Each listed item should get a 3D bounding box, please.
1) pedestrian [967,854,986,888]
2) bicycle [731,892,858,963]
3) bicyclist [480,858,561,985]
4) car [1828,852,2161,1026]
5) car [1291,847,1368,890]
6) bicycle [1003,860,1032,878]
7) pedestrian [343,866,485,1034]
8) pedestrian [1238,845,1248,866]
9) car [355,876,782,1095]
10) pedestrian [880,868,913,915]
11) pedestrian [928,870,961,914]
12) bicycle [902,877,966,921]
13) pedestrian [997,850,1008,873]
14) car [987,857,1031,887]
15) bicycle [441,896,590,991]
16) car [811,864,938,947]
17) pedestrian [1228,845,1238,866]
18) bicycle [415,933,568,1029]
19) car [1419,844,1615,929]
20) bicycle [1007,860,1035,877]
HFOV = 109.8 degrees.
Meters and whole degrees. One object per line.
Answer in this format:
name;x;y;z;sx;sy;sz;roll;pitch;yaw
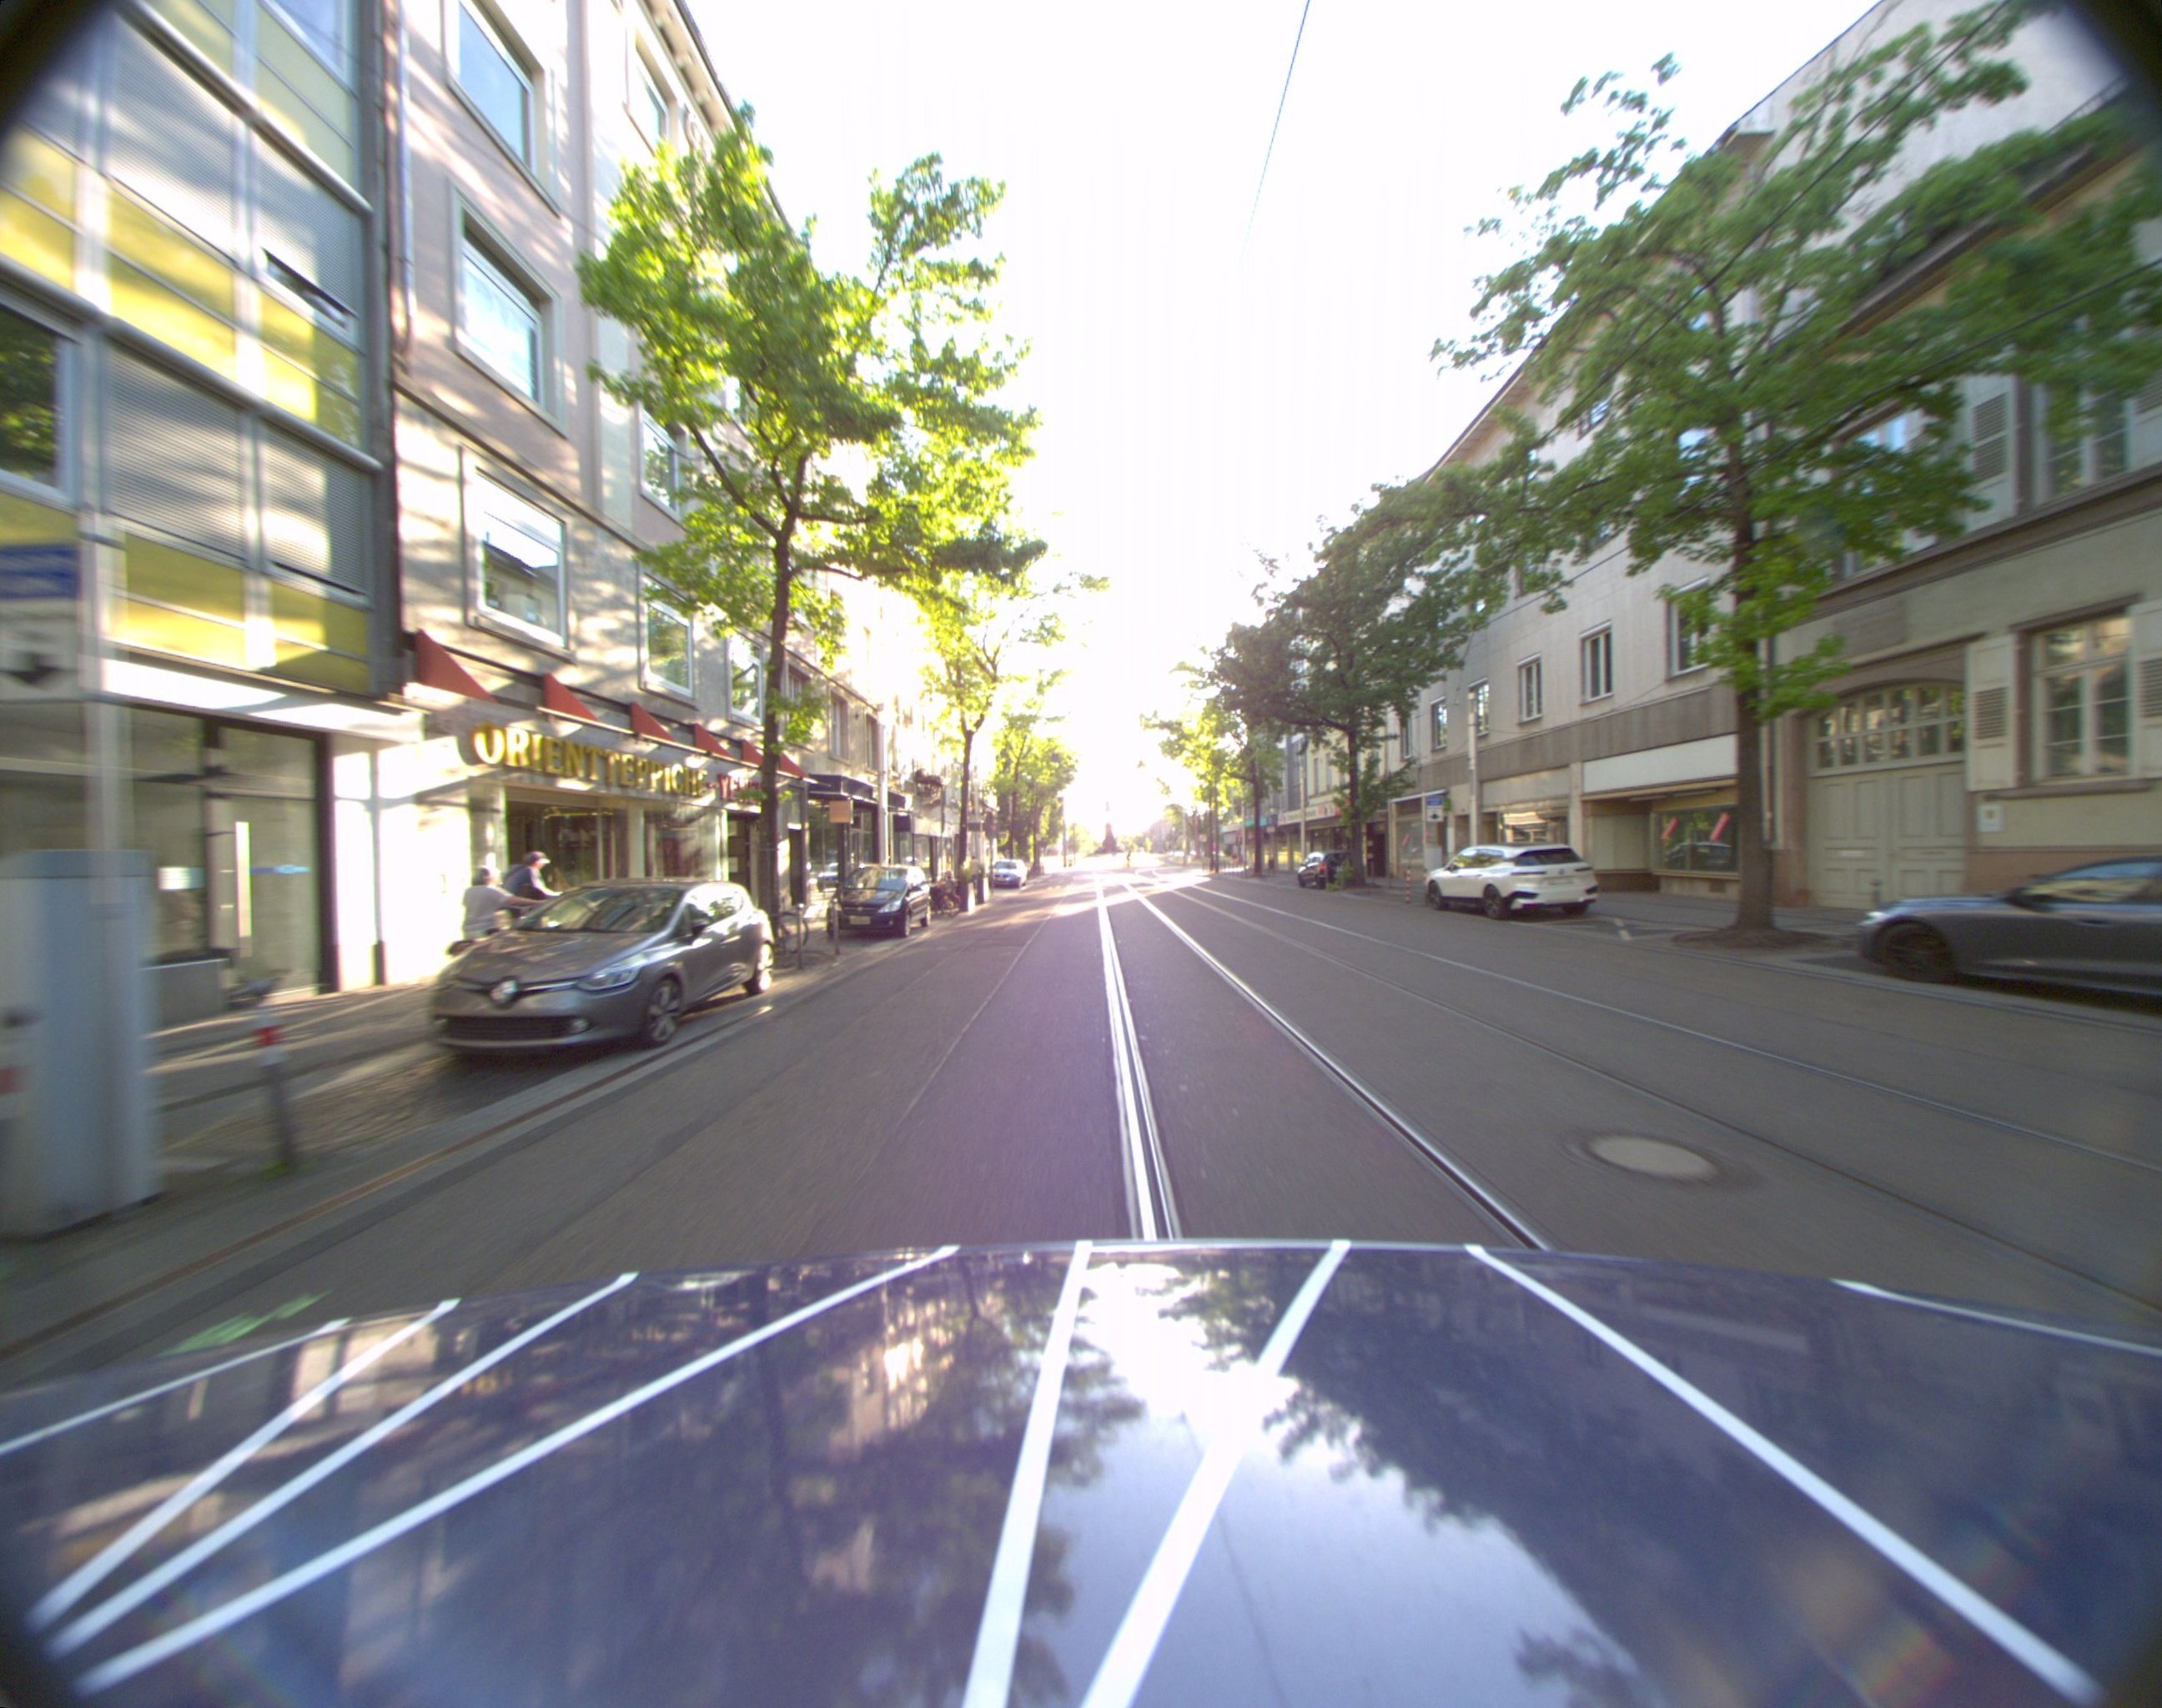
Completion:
pedestrian;-5.207;0.837;37.744;0.805;1.633;0.756;0;1;1
bicycle;-4.758;1.207;12.739;1.861;1.068;0.712;-1;1;-9
bicyclist;-7.658;0.899;10.405;0.640;1.674;0.599;-1;1;-1
car;10.141;0.727;6.852;1.967;1.404;4.845;-2;1;-2
car;10.673;0.572;32.921;1.967;1.630;4.000;-4;1;1
bicycle;-4.318;0.986;51.403;1.870;1.148;0.562;-2;1;3
pedestrian;-6.890;0.957;7.884;0.798;1.636;0.699;-1;1;-1
pedestrian;15.572;0.105;73.215;0.798;2.002;0.734;-2;2;2
car;-4.648;1.065;7.739;1.820;1.477;3.998;2;0;-4
pedestrian;-5.582;1.118;23.000;0.711;1.379;0.745;-2;1;-36
pedestrian;-4.129;1.142;22.969;0.819;1.258;0.586;-1;1;6
bicycle;-4.120;1.231;21.213;1.727;1.132;0.547;1;2;22
pedestrian;-6.978;0.664;67.514;0.846;2.002;0.843;-2;2;-7
car;-3.828;0.930;41.121;1.780;1.432;4.422;2;1;2
bicycle;-7.656;1.168;10.417;0.649;1.068;1.861;-1;0;-1
car;-4.414;1.047;16.797;1.805;1.450;3.653;3;1;-1
pedestrian;14.691;0.105;73.575;0.798;2.002;0.734;-2;2;2
bicycle;-6.574;1.381;8.580;0.467;0.802;1.607;-1;0;-1
car;10.144;0.654;18.223;1.966;1.630;4.812;-4;1;2
bicycle;-4.208;1.022;53.297;1.870;1.148;0.348;-2;1;3
